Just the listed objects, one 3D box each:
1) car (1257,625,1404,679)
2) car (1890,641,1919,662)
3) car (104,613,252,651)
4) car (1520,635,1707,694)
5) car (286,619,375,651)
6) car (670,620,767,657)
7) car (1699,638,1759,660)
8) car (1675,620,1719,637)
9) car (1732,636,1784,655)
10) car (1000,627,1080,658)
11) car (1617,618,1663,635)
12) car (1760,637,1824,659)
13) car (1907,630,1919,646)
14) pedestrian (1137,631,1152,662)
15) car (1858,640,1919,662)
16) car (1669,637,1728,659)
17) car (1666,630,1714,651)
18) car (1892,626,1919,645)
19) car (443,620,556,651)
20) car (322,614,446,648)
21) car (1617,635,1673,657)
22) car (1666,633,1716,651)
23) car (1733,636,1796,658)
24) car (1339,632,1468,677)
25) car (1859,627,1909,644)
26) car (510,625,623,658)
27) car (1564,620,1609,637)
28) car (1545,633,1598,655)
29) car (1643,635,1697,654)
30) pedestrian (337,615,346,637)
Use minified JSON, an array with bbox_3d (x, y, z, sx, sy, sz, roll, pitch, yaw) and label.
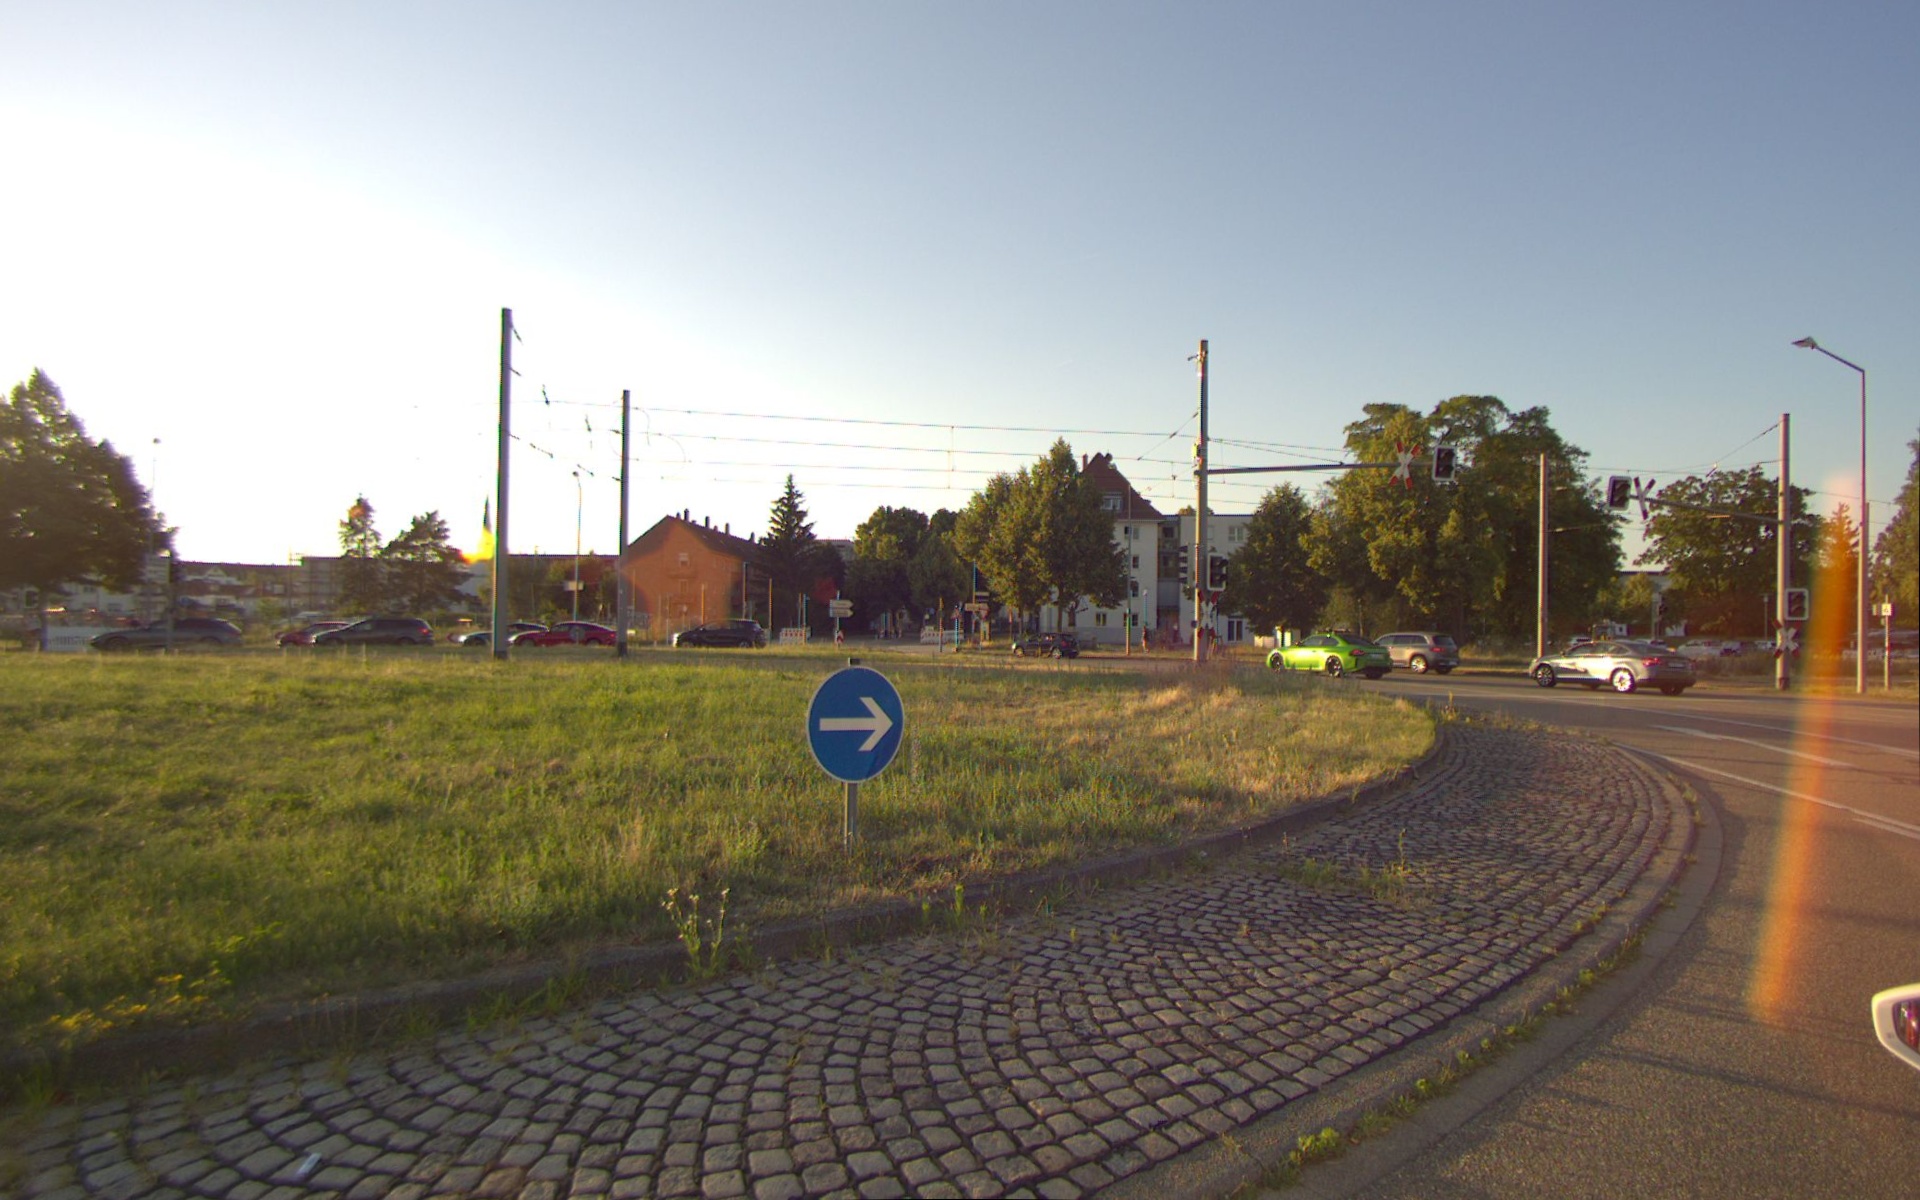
[{"bbox_3d":[12.189,1.667,33.379,1.974,1.600,4.455,1,-1,-27],"label":"car"},{"bbox_3d":[76.341,4.080,79.488,1.960,1.625,4.002,1,-1,3],"label":"car"},{"bbox_3d":[-30.673,1.254,39.575,4.299,1.394,1.985,1,-1,-29],"label":"car"},{"bbox_3d":[18.853,1.815,29.265,1.853,1.483,4.661,1,-1,-11],"label":"car"},{"bbox_3d":[-31.015,1.715,49.563,3.439,1.519,1.634,1,-1,-22],"label":"car"},{"bbox_3d":[-10.938,1.725,45.655,3.920,1.605,1.896,1,-1,2],"label":"car"},{"bbox_3d":[61.623,3.904,80.573,1.960,1.625,4.002,1,-1,3],"label":"car"},{"bbox_3d":[93.191,3.581,127.045,4.033,2.040,2.001,1,-1,4],"label":"car"},{"bbox_3d":[77.335,4.411,97.428,3.938,1.684,1.894,0,-1,39],"label":"car"},{"bbox_3d":[4.296,2.308,54.055,3.939,1.372,1.687,-4,0,38],"label":"car"},{"bbox_3d":[86.240,3.374,127.453,4.505,2.040,2.001,1,-1,5],"label":"car"},{"bbox_3d":[66.357,3.781,80.183,1.960,1.625,4.002,1,-1,3],"label":"car"},{"bbox_3d":[105.572,4.102,108.734,1.971,1.728,3.979,1,-1,-22],"label":"car"},{"bbox_3d":[11.476,2.878,62.417,0.614,1.918,0.662,2,0,-35],"label":"pedestrian"},{"bbox_3d":[73.871,4.006,79.638,1.960,1.625,4.002,1,-1,3],"label":"car"},{"bbox_3d":[59.504,3.843,81.050,1.960,1.625,4.002,1,-1,3],"label":"car"},{"bbox_3d":[75.802,4.223,104.339,3.934,2.040,1.994,0,-1,35],"label":"car"},{"bbox_3d":[107.439,4.019,112.612,3.919,2.040,2.001,1,-1,11],"label":"car"},{"bbox_3d":[-22.294,1.715,48.805,4.652,1.389,1.996,1,-1,-12],"label":"car"},{"bbox_3d":[-24.310,1.312,42.576,4.323,1.394,1.989,1,-1,-24],"label":"car"},{"bbox_3d":[54.745,3.695,80.349,1.960,1.625,4.002,1,-1,3],"label":"car"},{"bbox_3d":[73.149,4.180,100.589,3.934,1.684,1.994,0,-1,35],"label":"car"},{"bbox_3d":[64.004,3.709,79.944,1.960,1.625,4.002,1,-1,3],"label":"car"},{"bbox_3d":[18.088,2.165,41.145,1.981,1.659,4.480,1,-1,-36],"label":"car"},{"bbox_3d":[108.019,4.118,117.463,3.919,1.840,2.001,1,-1,5],"label":"car"},{"bbox_3d":[-17.537,1.863,44.937,4.417,1.410,1.892,1,-1,-11],"label":"car"},{"bbox_3d":[79.565,3.644,127.637,4.507,2.040,2.000,1,-1,0],"label":"car"},{"bbox_3d":[49.403,3.538,81.241,1.960,1.625,4.002,1,-1,3],"label":"car"},{"bbox_3d":[69.198,4.322,97.944,3.919,1.684,1.904,1,-1,5],"label":"car"},{"bbox_3d":[-37.185,1.558,60.383,0.392,1.325,0.426,1,-1,-30],"label":"pedestrian"}]
